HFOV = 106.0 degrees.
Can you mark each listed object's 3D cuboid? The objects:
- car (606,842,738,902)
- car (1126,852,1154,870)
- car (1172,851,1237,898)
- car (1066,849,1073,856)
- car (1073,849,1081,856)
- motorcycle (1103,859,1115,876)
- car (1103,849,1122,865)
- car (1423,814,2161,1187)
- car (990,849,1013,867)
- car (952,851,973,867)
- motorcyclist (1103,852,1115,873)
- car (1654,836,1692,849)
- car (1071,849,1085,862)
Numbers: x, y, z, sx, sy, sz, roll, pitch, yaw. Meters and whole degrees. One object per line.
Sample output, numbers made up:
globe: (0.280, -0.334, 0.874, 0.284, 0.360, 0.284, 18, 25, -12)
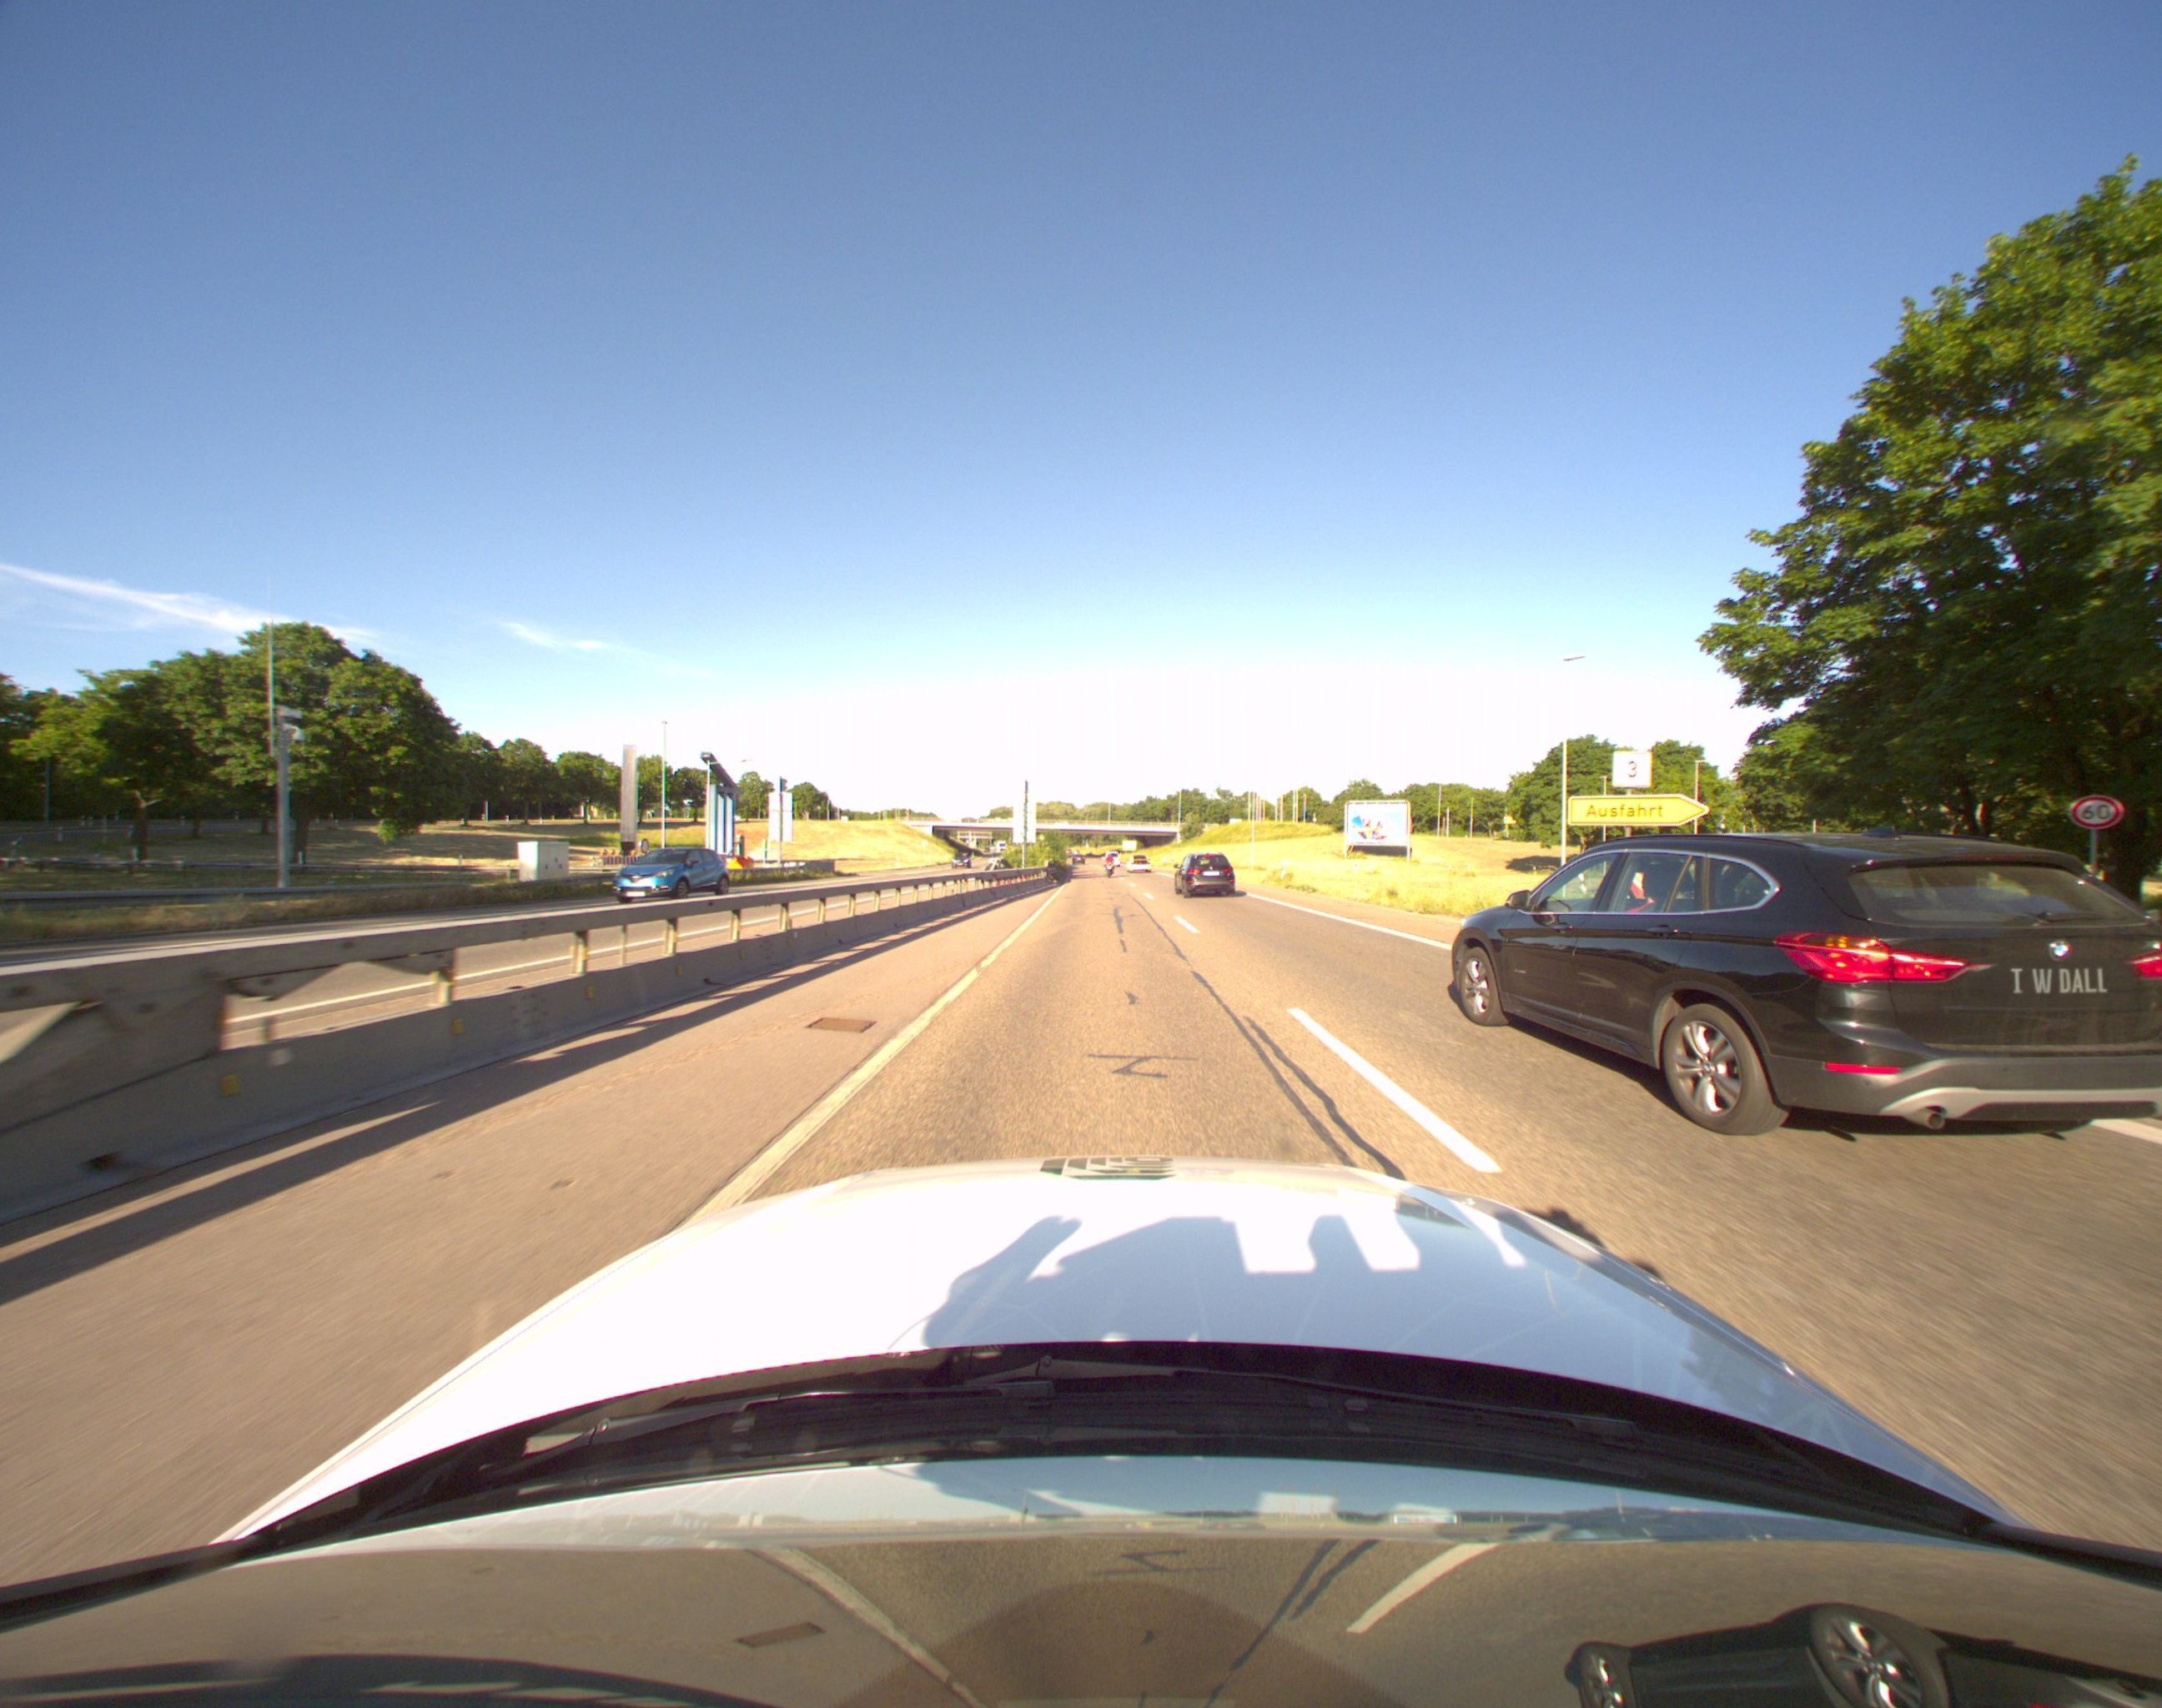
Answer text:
car: (-11.881, 0.476, 23.985, 1.667, 1.572, 4.321, -1, 0, 0)
car: (4.908, 0.557, 68.090, 1.893, 1.471, 3.996, -1, 0, -3)
car: (4.370, 0.676, 29.437, 1.693, 1.506, 4.580, -2, 0, 1)
car: (-3.290, -0.431, 233.179, 1.862, 1.685, 4.001, 1, 0, 1)
car: (-1.026, -0.337, 215.286, 1.862, 1.685, 4.001, 1, 0, 1)
motorcycle: (1.932, 0.916, 55.832, 0.813, 1.069, 2.838, -1, 1, 3)
car: (3.737, 0.364, 96.473, 1.893, 1.767, 3.996, -2, 0, -3)
car: (4.195, 0.599, 5.726, 1.749, 1.573, 4.522, -1, 1, 1)
car: (-7.255, 0.306, 74.418, 1.711, 1.575, 4.161, -1, 0, -1)
car: (-11.630, 0.475, 80.366, 1.605, 1.485, 3.391, -1, 0, -1)
motorcyclist: (1.911, 0.571, 55.579, 0.813, 1.447, 1.095, -1, 0, 3)
car: (83.109, -1.621, 114.336, 1.867, 1.691, 3.979, -1, 1, -16)
car: (-0.453, 0.235, 116.256, 1.892, 1.767, 3.998, 1, 0, -1)
